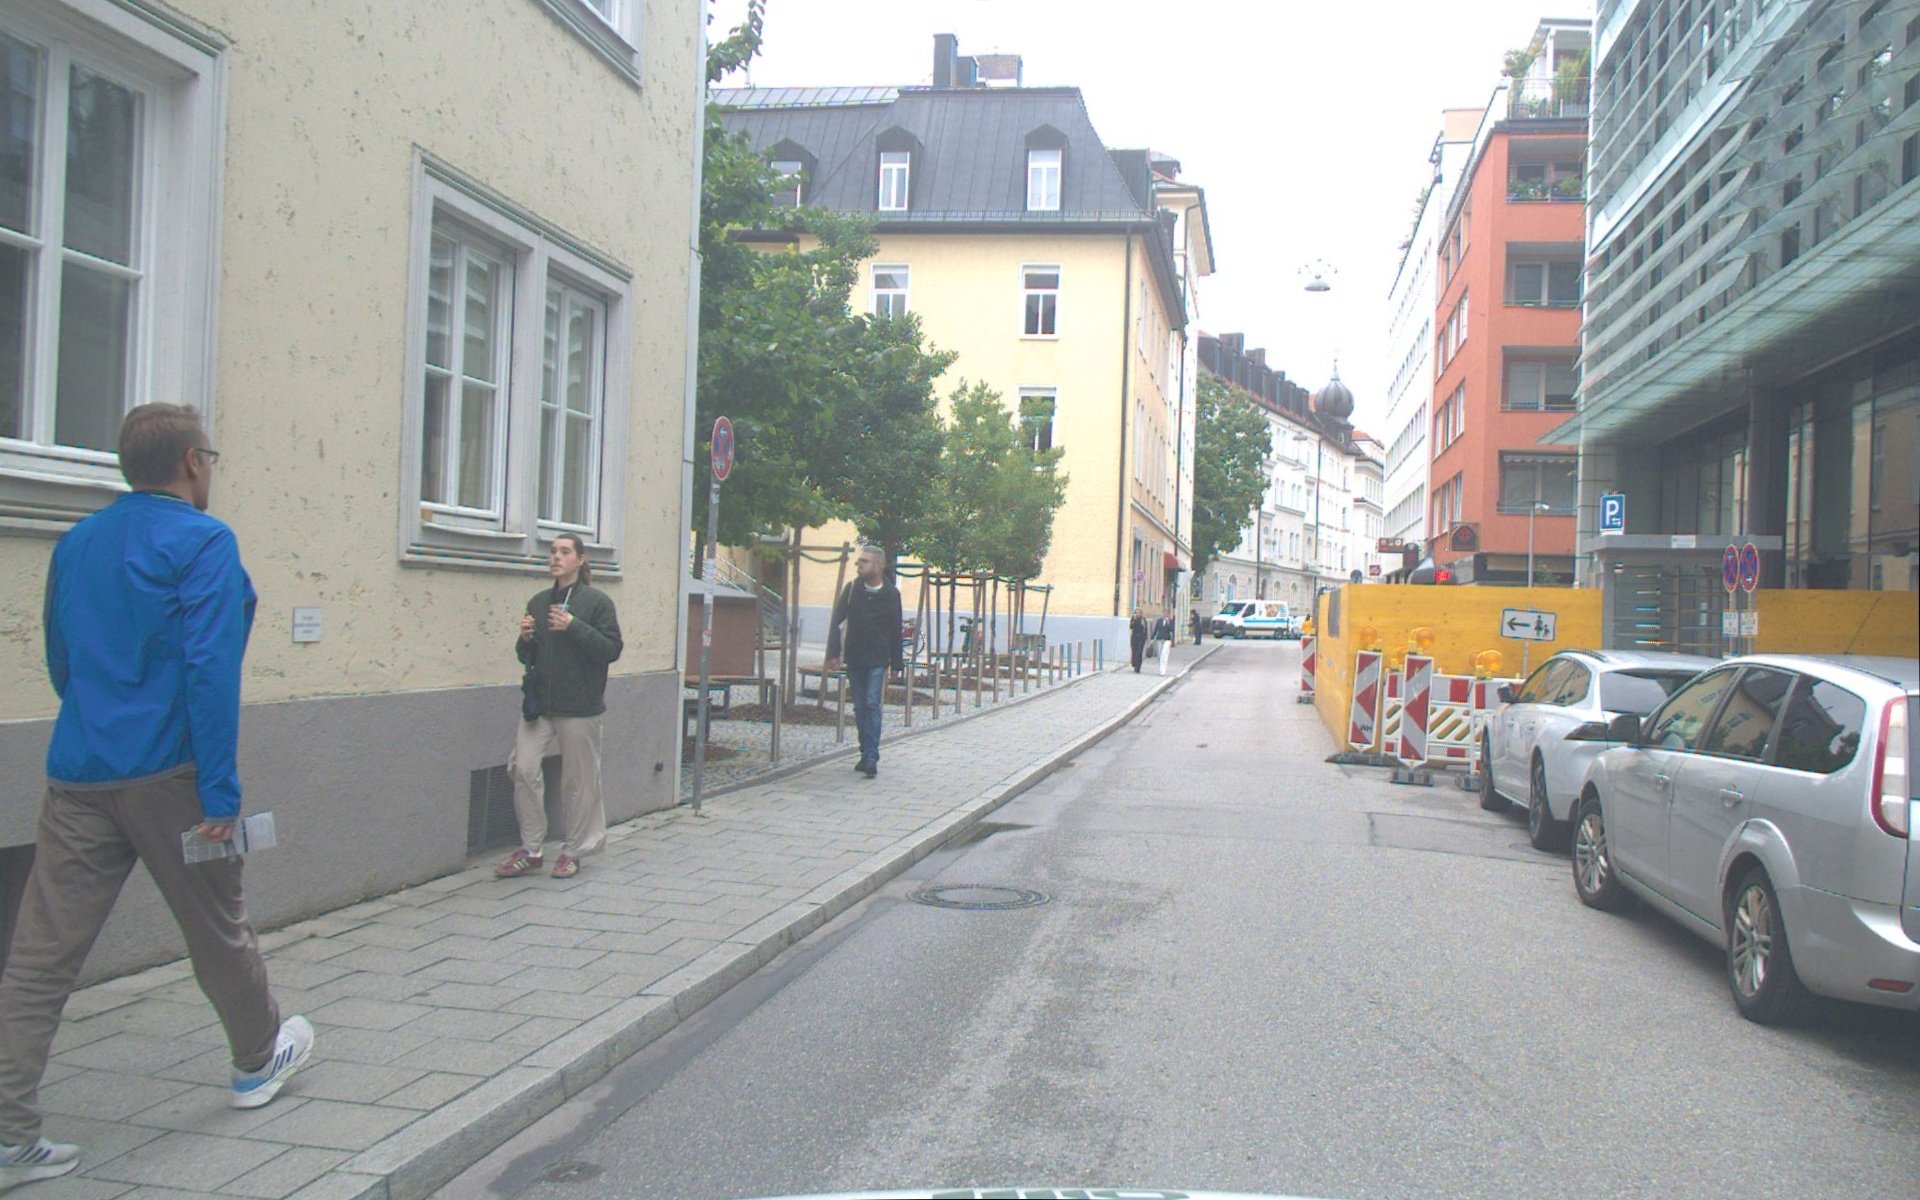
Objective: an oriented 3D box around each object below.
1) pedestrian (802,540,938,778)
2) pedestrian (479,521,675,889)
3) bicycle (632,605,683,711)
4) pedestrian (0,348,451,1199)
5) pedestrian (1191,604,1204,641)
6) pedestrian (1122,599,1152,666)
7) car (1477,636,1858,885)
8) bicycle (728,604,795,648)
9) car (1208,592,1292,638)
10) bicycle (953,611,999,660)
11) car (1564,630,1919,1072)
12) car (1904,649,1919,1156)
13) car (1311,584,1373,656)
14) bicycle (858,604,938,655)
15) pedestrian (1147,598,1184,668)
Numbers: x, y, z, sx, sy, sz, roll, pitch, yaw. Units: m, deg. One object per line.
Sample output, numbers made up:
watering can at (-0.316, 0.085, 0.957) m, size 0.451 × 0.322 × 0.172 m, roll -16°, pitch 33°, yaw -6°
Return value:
pedestrian at (-0.754, 0.490, 14.210) m, size 0.849 × 1.914 × 1.136 m, roll 3°, pitch -1°, yaw 10°
pedestrian at (-1.880, 0.494, 8.191) m, size 0.633 × 1.705 × 0.724 m, roll 3°, pitch -1°, yaw 10°
bicycle at (-3.791, 0.697, 20.665) m, size 0.540 × 1.218 × 1.833 m, roll 3°, pitch 0°, yaw -11°
pedestrian at (-1.941, 0.399, 4.160) m, size 0.741 × 1.887 × 1.078 m, roll 3°, pitch 0°, yaw 11°
pedestrian at (11.030, 1.047, 76.758) m, size 0.505 × 1.704 × 0.637 m, roll 3°, pitch 0°, yaw 6°
pedestrian at (4.568, 0.830, 42.729) m, size 0.656 × 1.677 × 0.762 m, roll 3°, pitch -1°, yaw 10°
car at (5.215, 1.065, 12.822) m, size 1.672 × 1.438 × 4.513 m, roll 4°, pitch 0°, yaw 10°
bicycle at (-5.288, 0.692, 44.084) m, size 1.621 × 1.088 × 0.598 m, roll 3°, pitch 0°, yaw 15°
car at (17.078, 0.896, 97.282) m, size 4.941 × 2.440 × 1.973 m, roll 3°, pitch 0°, yaw -38°
bicycle at (0.419, 0.891, 41.332) m, size 0.499 × 1.164 × 2.053 m, roll 3°, pitch 0°, yaw 18°
car at (4.241, 0.955, 7.755) m, size 1.671 × 1.493 × 4.240 m, roll 4°, pitch 0°, yaw 7°
car at (3.257, 0.876, 2.597) m, size 1.671 × 1.457 × 4.333 m, roll 2°, pitch 0°, yaw 10°
car at (14.766, 0.772, 64.118) m, size 1.951 × 2.581 × 4.979 m, roll 3°, pitch 0°, yaw 10°
bicycle at (-1.635, 0.773, 43.675) m, size 2.001 × 1.218 × 0.570 m, roll 3°, pitch 0°, yaw 18°
pedestrian at (5.294, 0.843, 42.542) m, size 0.821 × 1.730 × 0.803 m, roll 3°, pitch -1°, yaw 10°
